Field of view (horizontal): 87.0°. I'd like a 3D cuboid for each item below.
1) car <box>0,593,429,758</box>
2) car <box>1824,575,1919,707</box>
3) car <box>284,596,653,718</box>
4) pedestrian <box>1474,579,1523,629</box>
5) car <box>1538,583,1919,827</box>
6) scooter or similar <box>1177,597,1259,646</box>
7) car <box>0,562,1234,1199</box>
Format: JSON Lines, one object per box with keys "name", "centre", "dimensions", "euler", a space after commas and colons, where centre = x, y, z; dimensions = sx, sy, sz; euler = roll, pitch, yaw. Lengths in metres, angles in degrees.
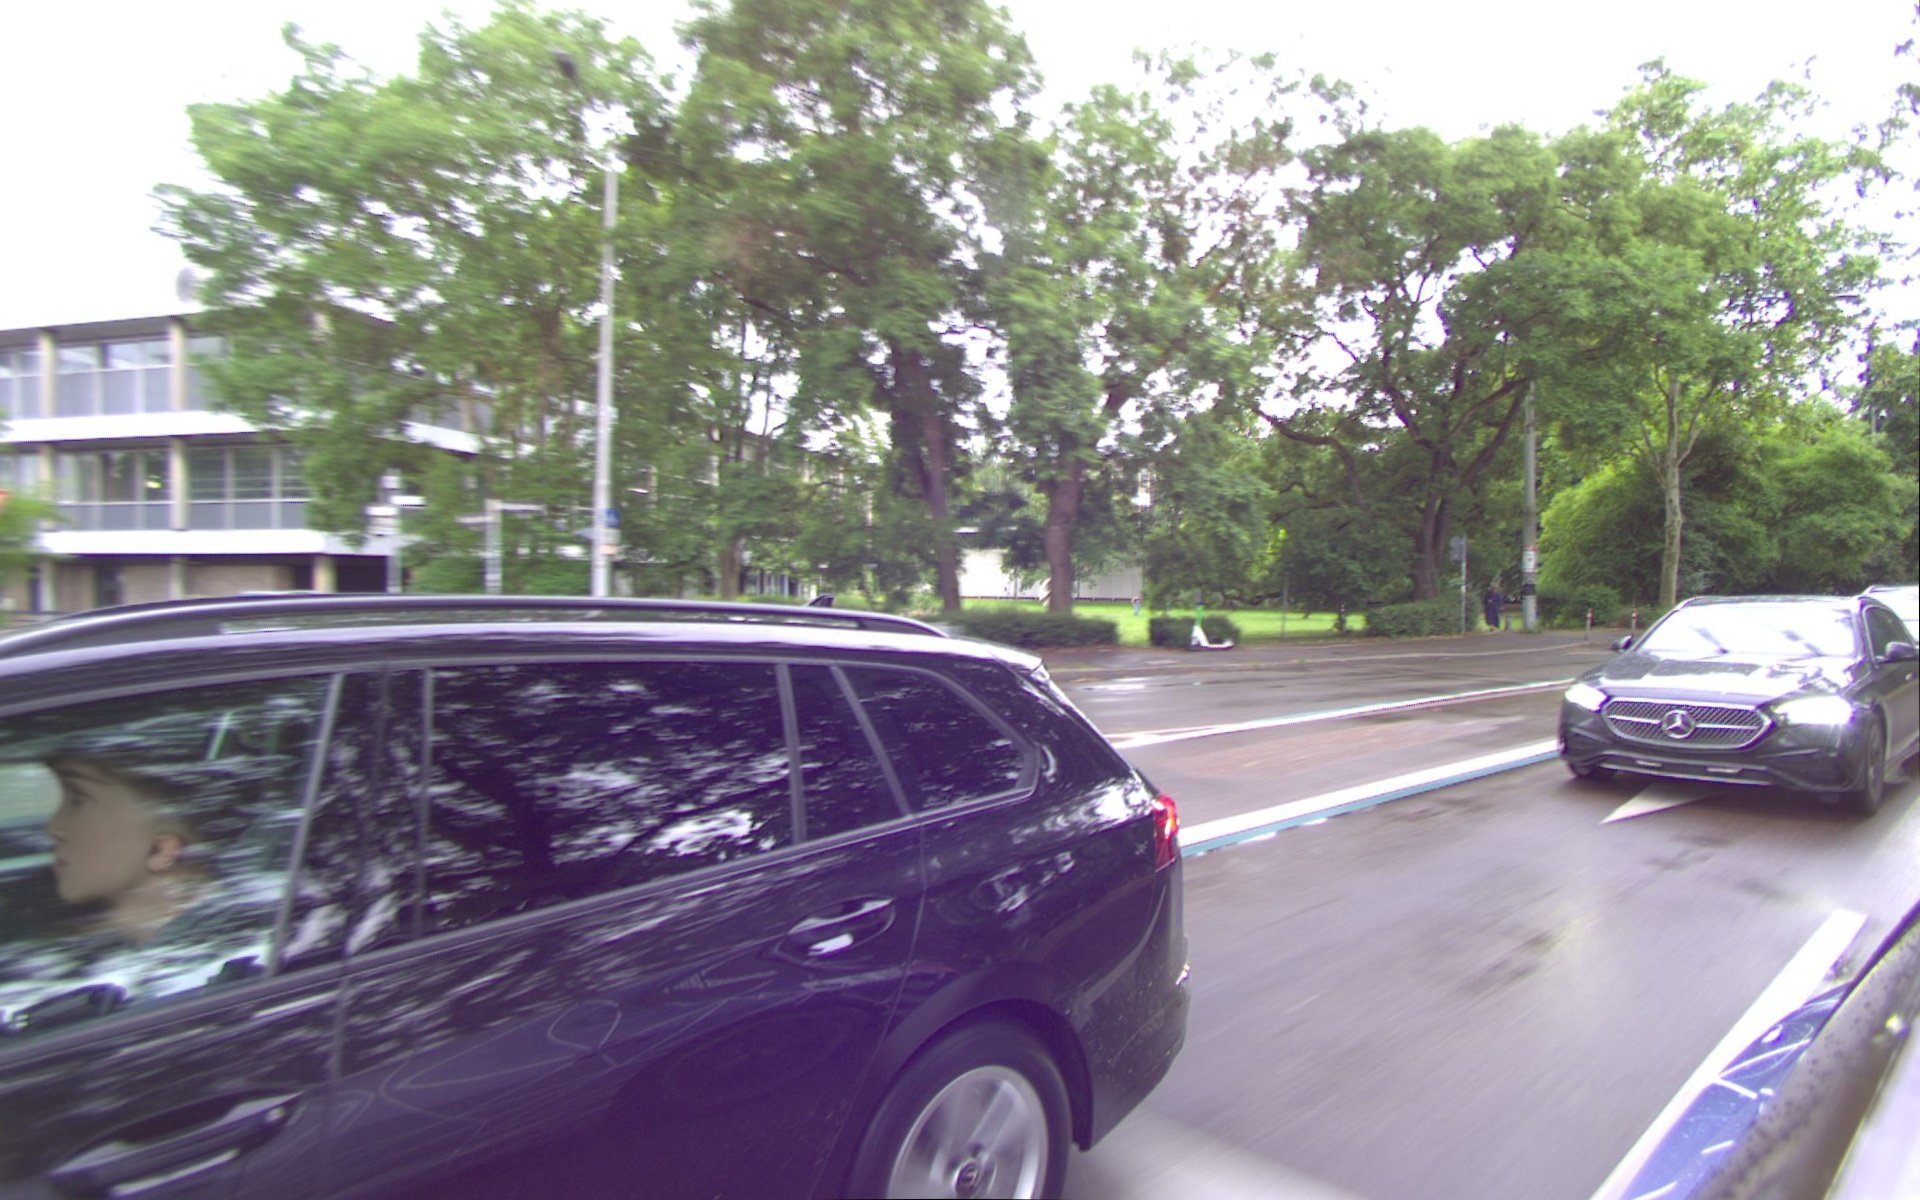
{"name": "car", "centre": [-7.747, 0.677, 10.167], "dimensions": [3.916, 1.468, 1.872], "euler": [0, 0, -14]}
{"name": "car", "centre": [13.600, 0.476, 13.973], "dimensions": [4.497, 1.628, 1.832], "euler": [-1, 0, -40]}
{"name": "car", "centre": [-6.504, 0.689, 13.929], "dimensions": [4.311, 1.468, 1.872], "euler": [0, 0, -19]}
{"name": "pedestrian", "centre": [18.114, 0.114, 34.078], "dimensions": [1.038, 1.626, 1.071], "euler": [-2, 0, 1]}
{"name": "car", "centre": [6.766, 0.616, 8.363], "dimensions": [4.843, 1.464, 1.883], "euler": [-1, 0, -40]}
{"name": "scooter or similar", "centre": [6.106, 0.513, 23.960], "dimensions": [1.851, 1.114, 0.559], "euler": [1, 3, -19]}
{"name": "car", "centre": [-1.545, 0.696, 1.656], "dimensions": [4.433, 1.484, 1.673], "euler": [0, 0, -41]}
